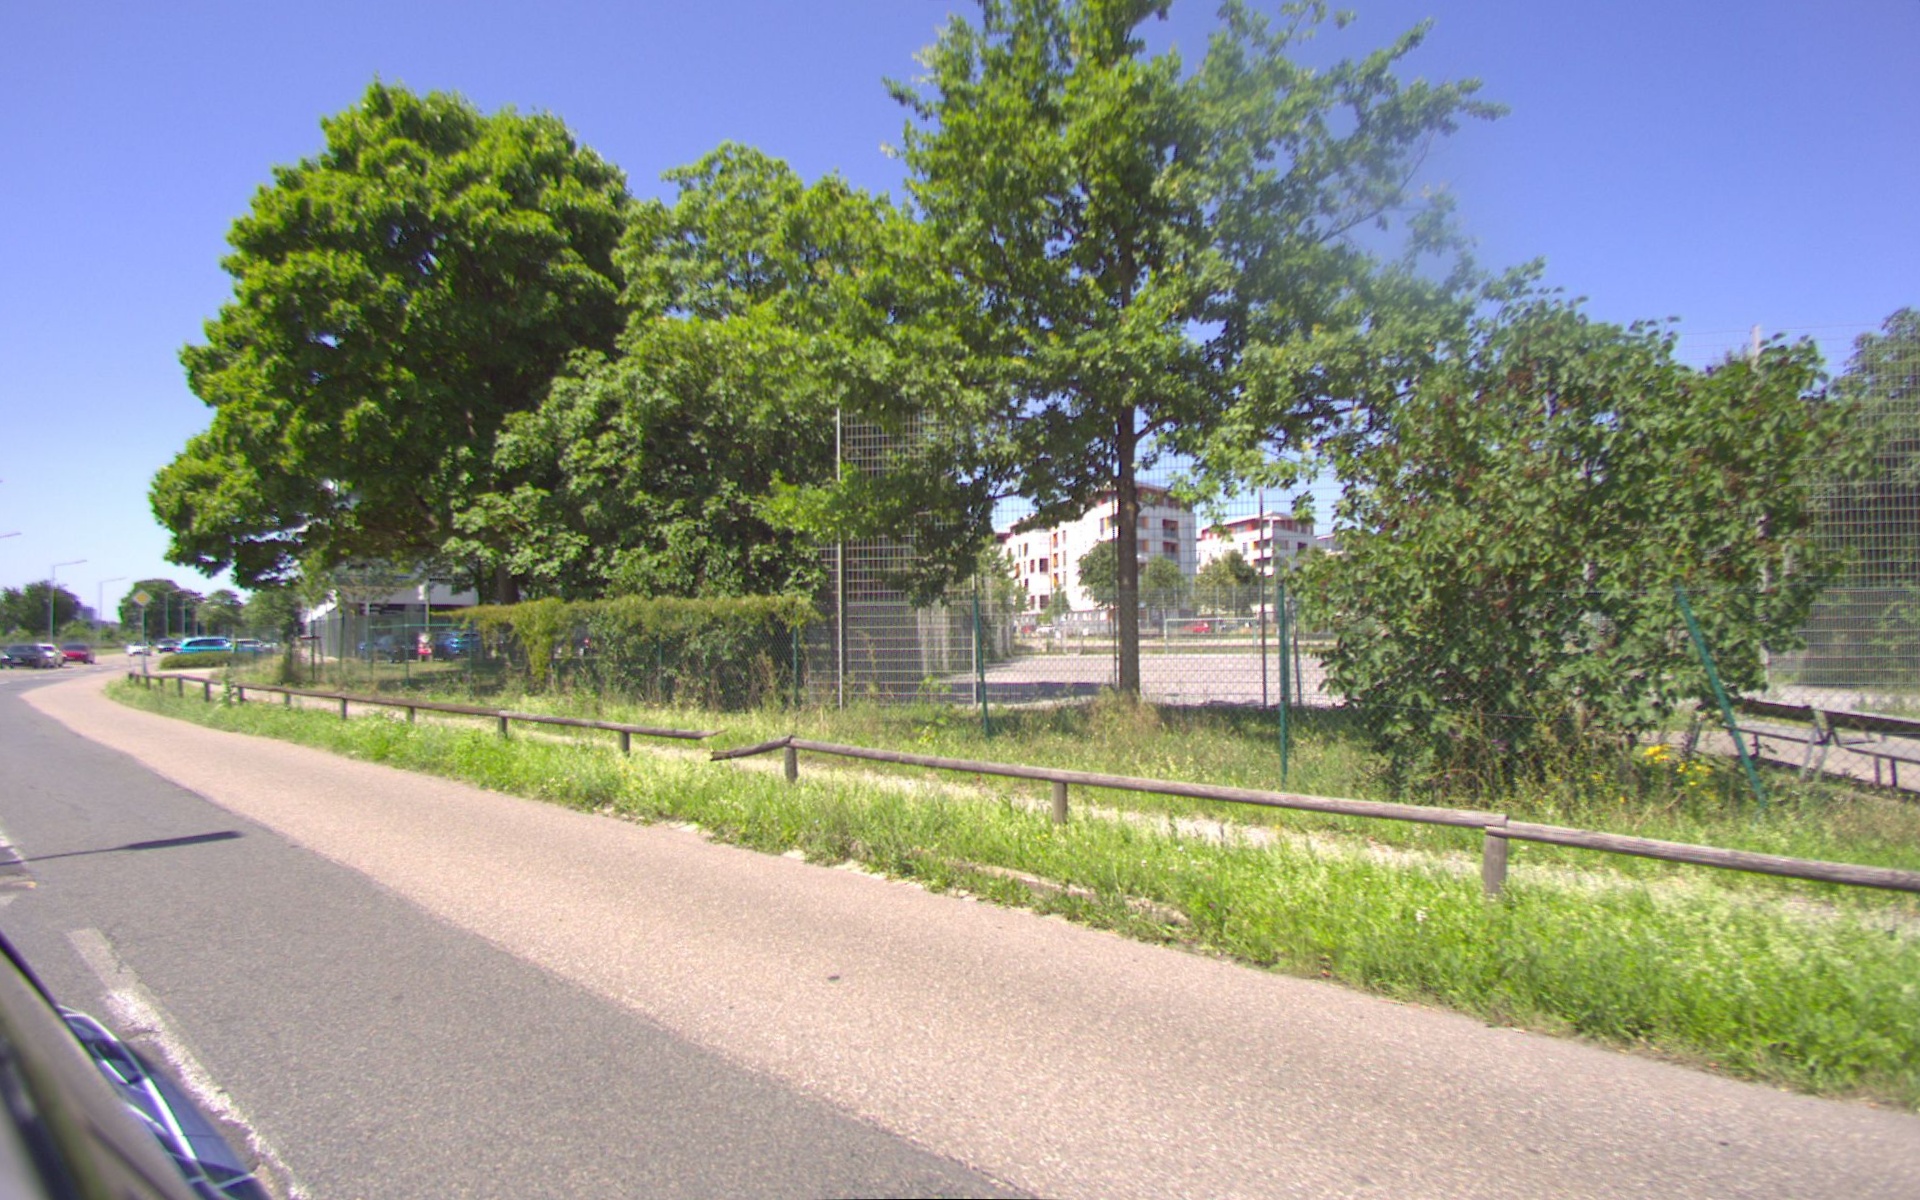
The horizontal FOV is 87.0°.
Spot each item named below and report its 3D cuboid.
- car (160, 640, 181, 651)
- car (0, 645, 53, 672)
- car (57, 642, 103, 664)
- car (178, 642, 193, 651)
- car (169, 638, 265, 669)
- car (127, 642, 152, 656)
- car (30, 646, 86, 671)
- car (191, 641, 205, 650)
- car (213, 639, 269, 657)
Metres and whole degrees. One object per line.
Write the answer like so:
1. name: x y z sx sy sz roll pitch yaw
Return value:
1. car: -113.667 6.540 145.730 1.966 1.597 4.011 1 -2 -33
2. car: -53.925 3.329 58.248 1.626 1.478 3.878 0 -2 -27
3. car: -63.293 3.792 72.846 1.626 1.478 3.878 0 -2 -27
4. car: -130.455 7.869 170.495 1.627 1.478 3.876 1 -2 -33
5. car: -39.868 2.871 54.424 3.931 1.564 1.896 1 -2 -30
6. car: -88.517 5.259 109.220 1.627 1.478 3.876 1 -2 -33
7. car: -56.393 3.653 63.344 1.626 1.478 3.878 0 -2 -26
8. car: -143.046 8.576 189.987 1.682 1.597 3.761 1 -2 -30
9. car: -65.328 4.379 91.996 3.931 1.564 1.629 1 -2 -30
